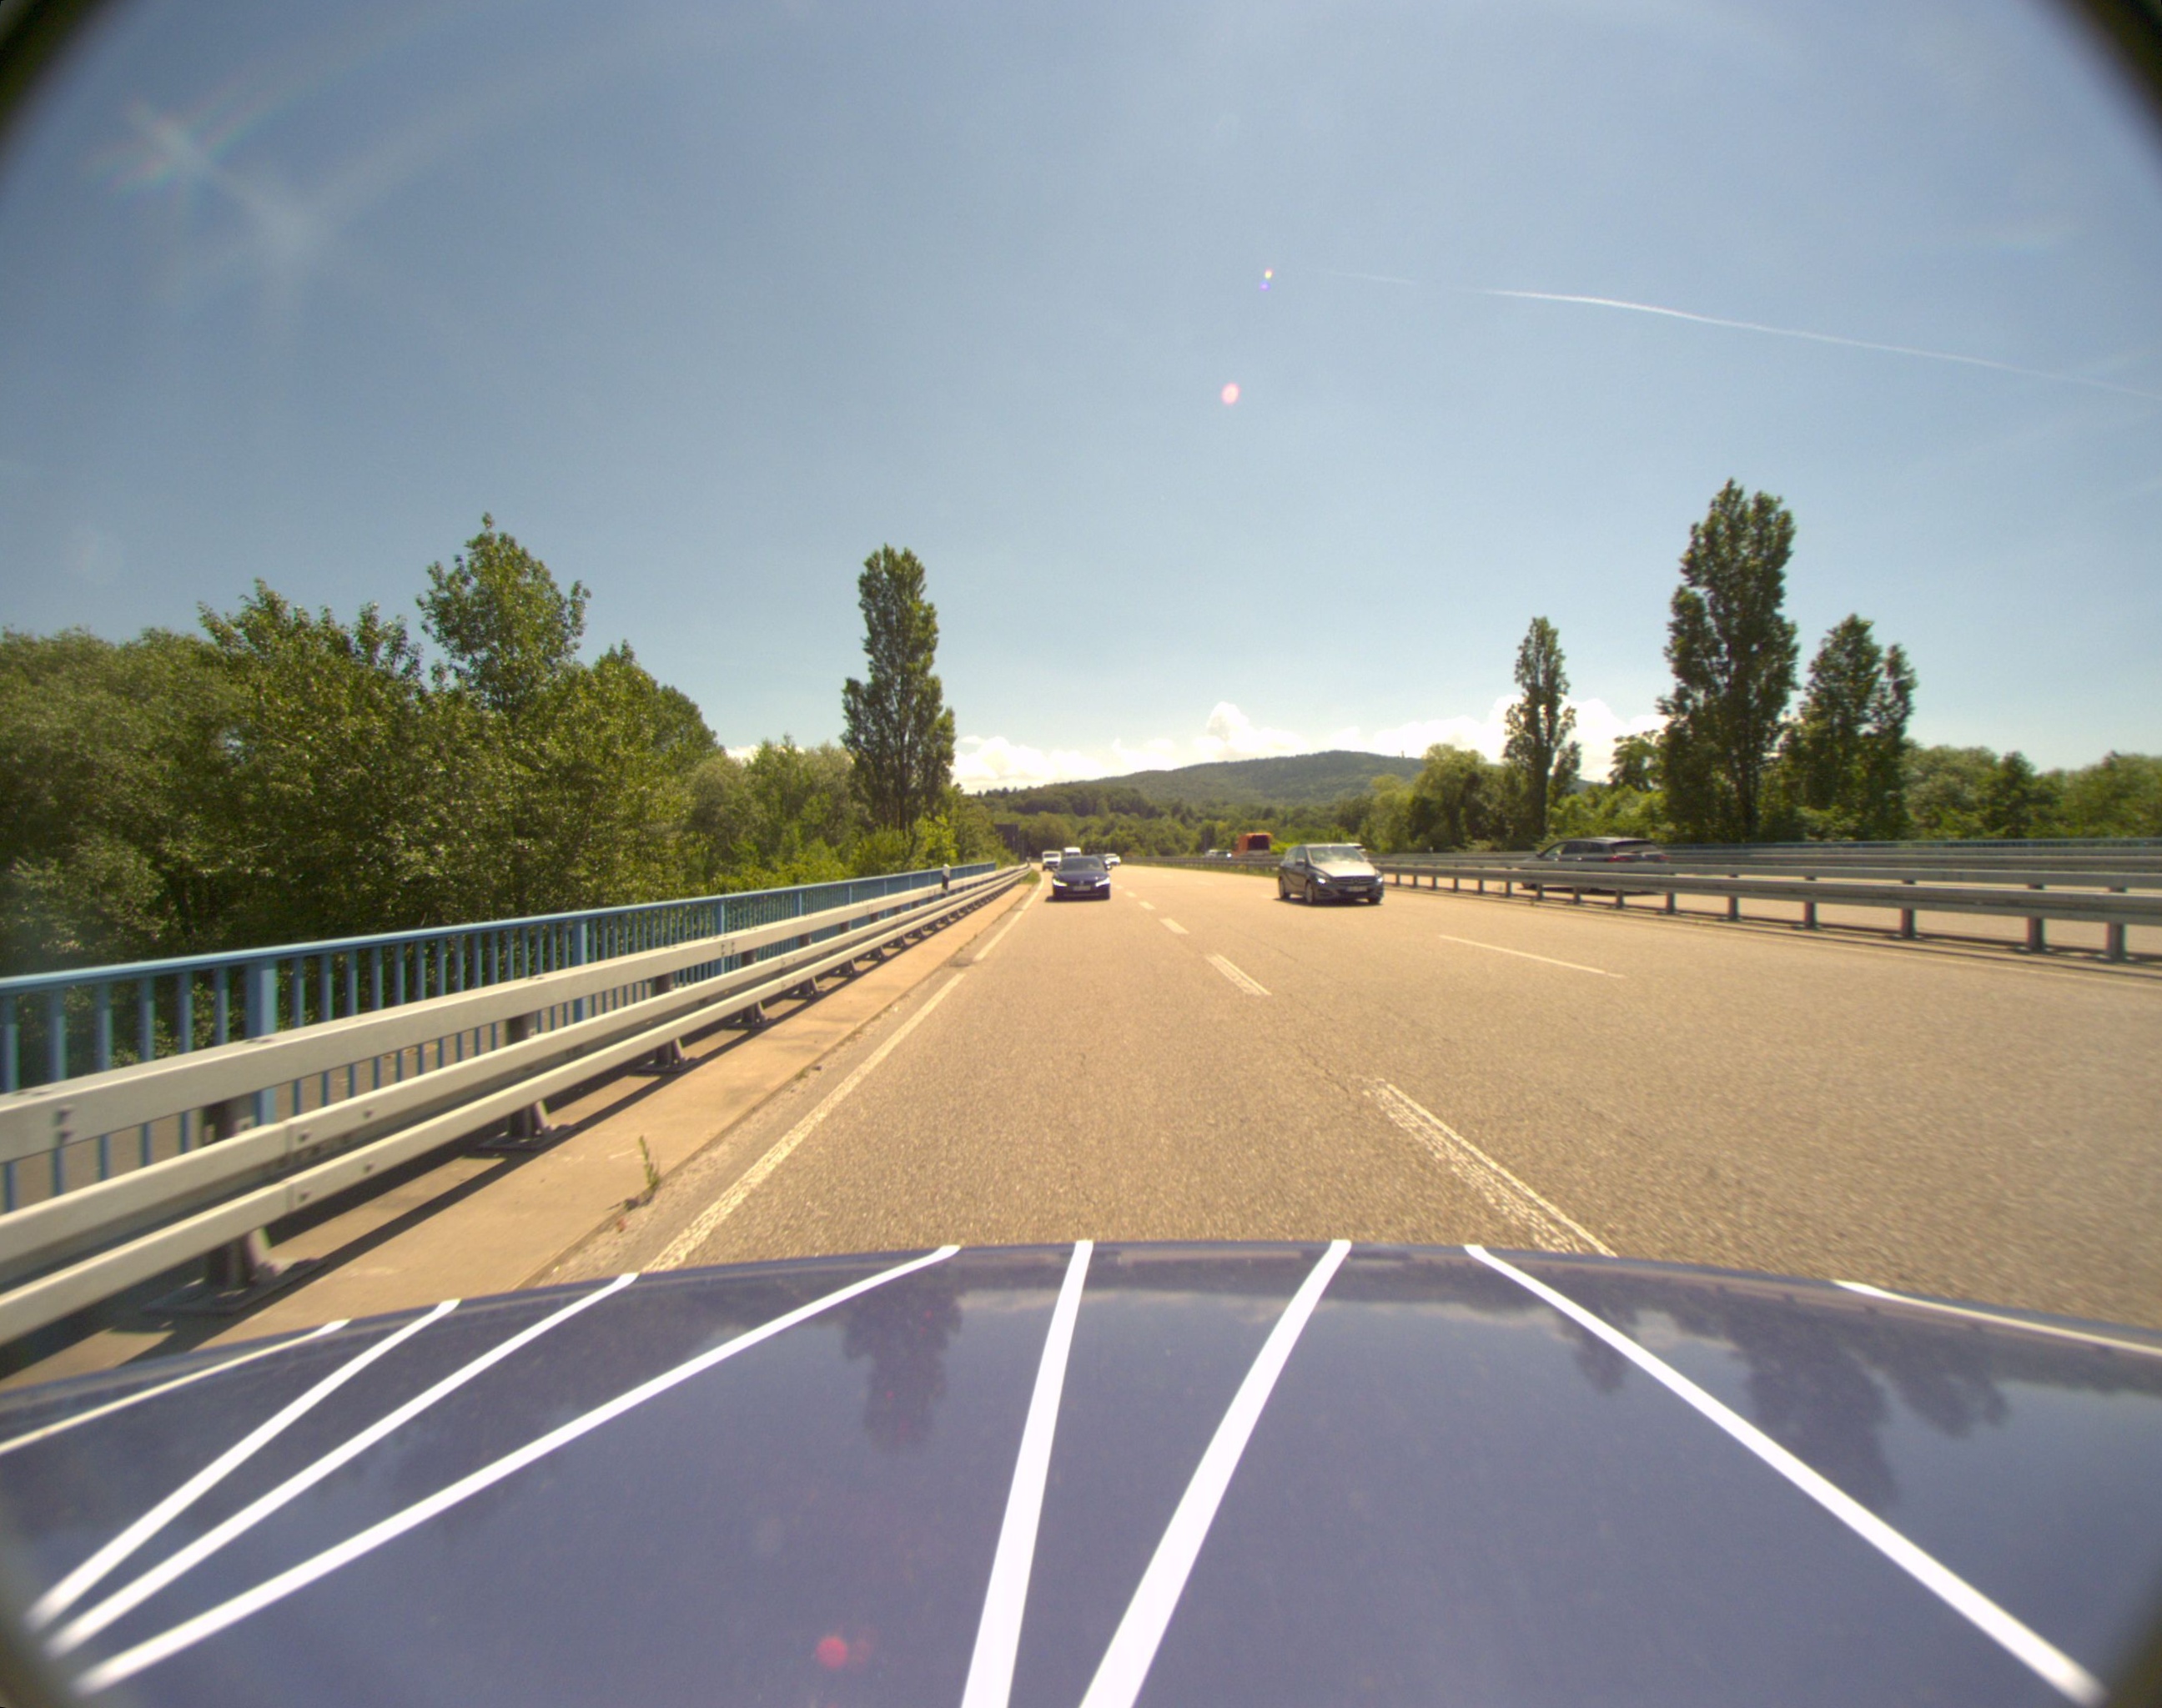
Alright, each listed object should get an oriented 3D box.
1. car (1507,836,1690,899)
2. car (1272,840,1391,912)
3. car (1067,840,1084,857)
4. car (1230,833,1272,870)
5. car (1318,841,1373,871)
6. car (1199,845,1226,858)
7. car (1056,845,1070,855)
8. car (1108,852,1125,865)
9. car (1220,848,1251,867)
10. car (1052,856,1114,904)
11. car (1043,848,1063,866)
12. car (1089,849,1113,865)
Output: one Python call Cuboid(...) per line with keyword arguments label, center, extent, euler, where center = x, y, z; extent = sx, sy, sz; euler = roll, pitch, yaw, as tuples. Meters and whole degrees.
Cuboid(label="car", center=(14.162, 0.332, 21.194), extent=(1.909, 1.496, 4.683), euler=(-2, 0, 0))
Cuboid(label="car", center=(6.586, 0.518, 20.527), extent=(1.797, 1.658, 4.554), euler=(-2, 1, 2))
Cuboid(label="car", center=(-0.726, -0.730, 97.454), extent=(2.009, 1.988, 4.577), euler=(-2, 1, -3))
Cuboid(label="car", center=(15.896, -0.293, 71.485), extent=(2.311, 3.273, 7.026), euler=(-1, 1, -1))
Cuboid(label="car", center=(17.506, 0.085, 50.540), extent=(1.858, 1.808, 4.793), euler=(-1, 1, -2))
Cuboid(label="car", center=(14.954, -0.289, 86.652), extent=(1.858, 1.424, 4.792), euler=(-1, 1, -5))
Cuboid(label="car", center=(-4.859, -1.083, 204.164), extent=(2.287, 2.758, 7.212), euler=(-1, 1, -12))
Cuboid(label="car", center=(4.264, 0.495, 92.257), extent=(1.846, 1.400, 4.468), euler=(-2, 1, -1))
Cuboid(label="car", center=(12.899, 0.256, 63.557), extent=(1.729, 1.420, 3.947), euler=(-1, 1, 0))
Cuboid(label="car", center=(0.011, 0.813, 25.721), extent=(1.846, 1.399, 4.469), euler=(-2, 0, -1))
Cuboid(label="car", center=(-2.914, 0.287, 79.368), extent=(1.885, 1.724, 4.468), euler=(-2, 1, -1))
Cuboid(label="car", center=(1.816, 0.255, 70.502), extent=(1.846, 1.400, 4.468), euler=(-2, 1, -2))
